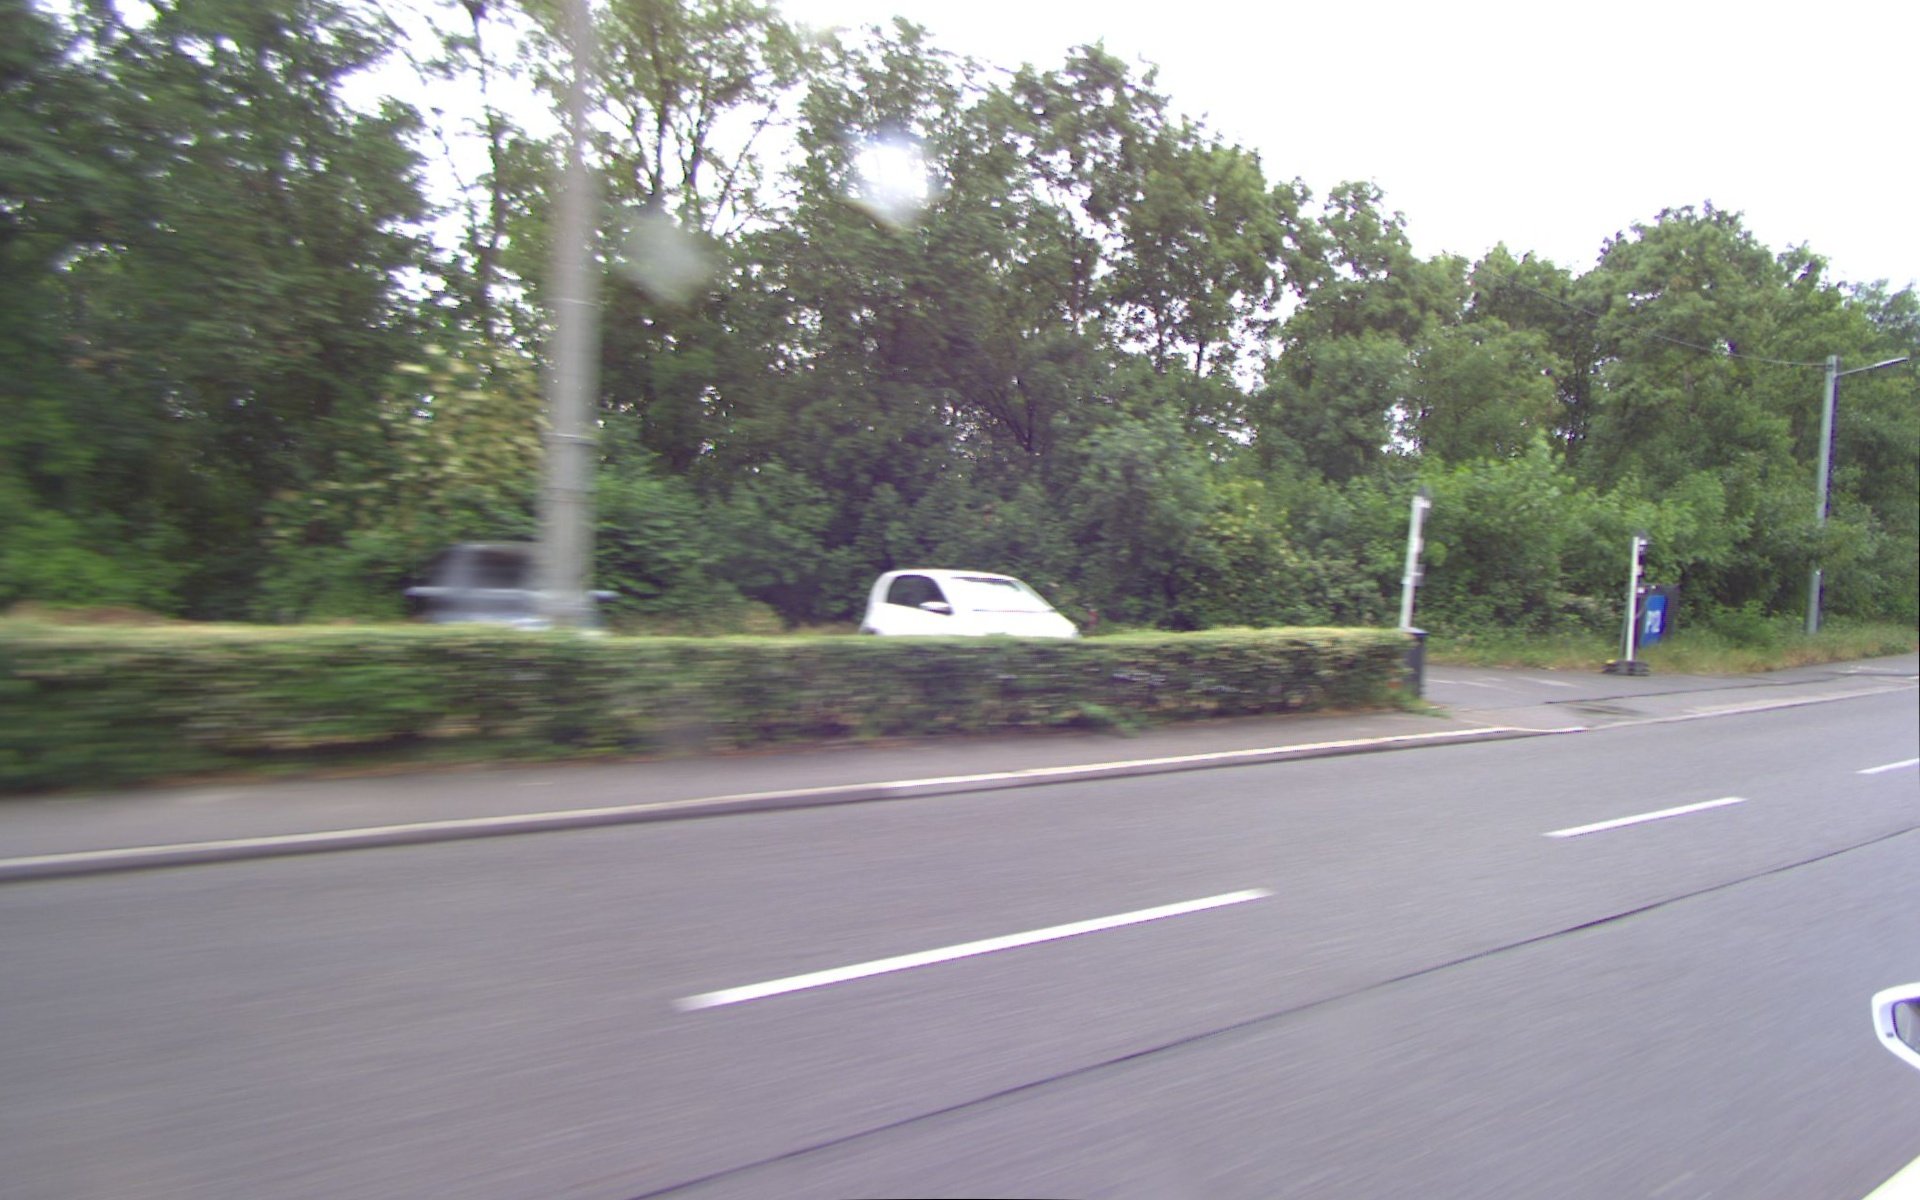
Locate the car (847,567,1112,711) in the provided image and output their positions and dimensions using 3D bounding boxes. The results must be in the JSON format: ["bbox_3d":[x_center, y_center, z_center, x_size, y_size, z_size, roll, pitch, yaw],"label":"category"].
[{"bbox_3d":[0.122,0.413,13.459,1.831,1.612,3.624,1,1,-32],"label":"car"}]

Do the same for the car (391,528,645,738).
[{"bbox_3d":[-4.687,0.229,10.610,1.974,1.731,4.276,1,1,-26],"label":"car"}]
